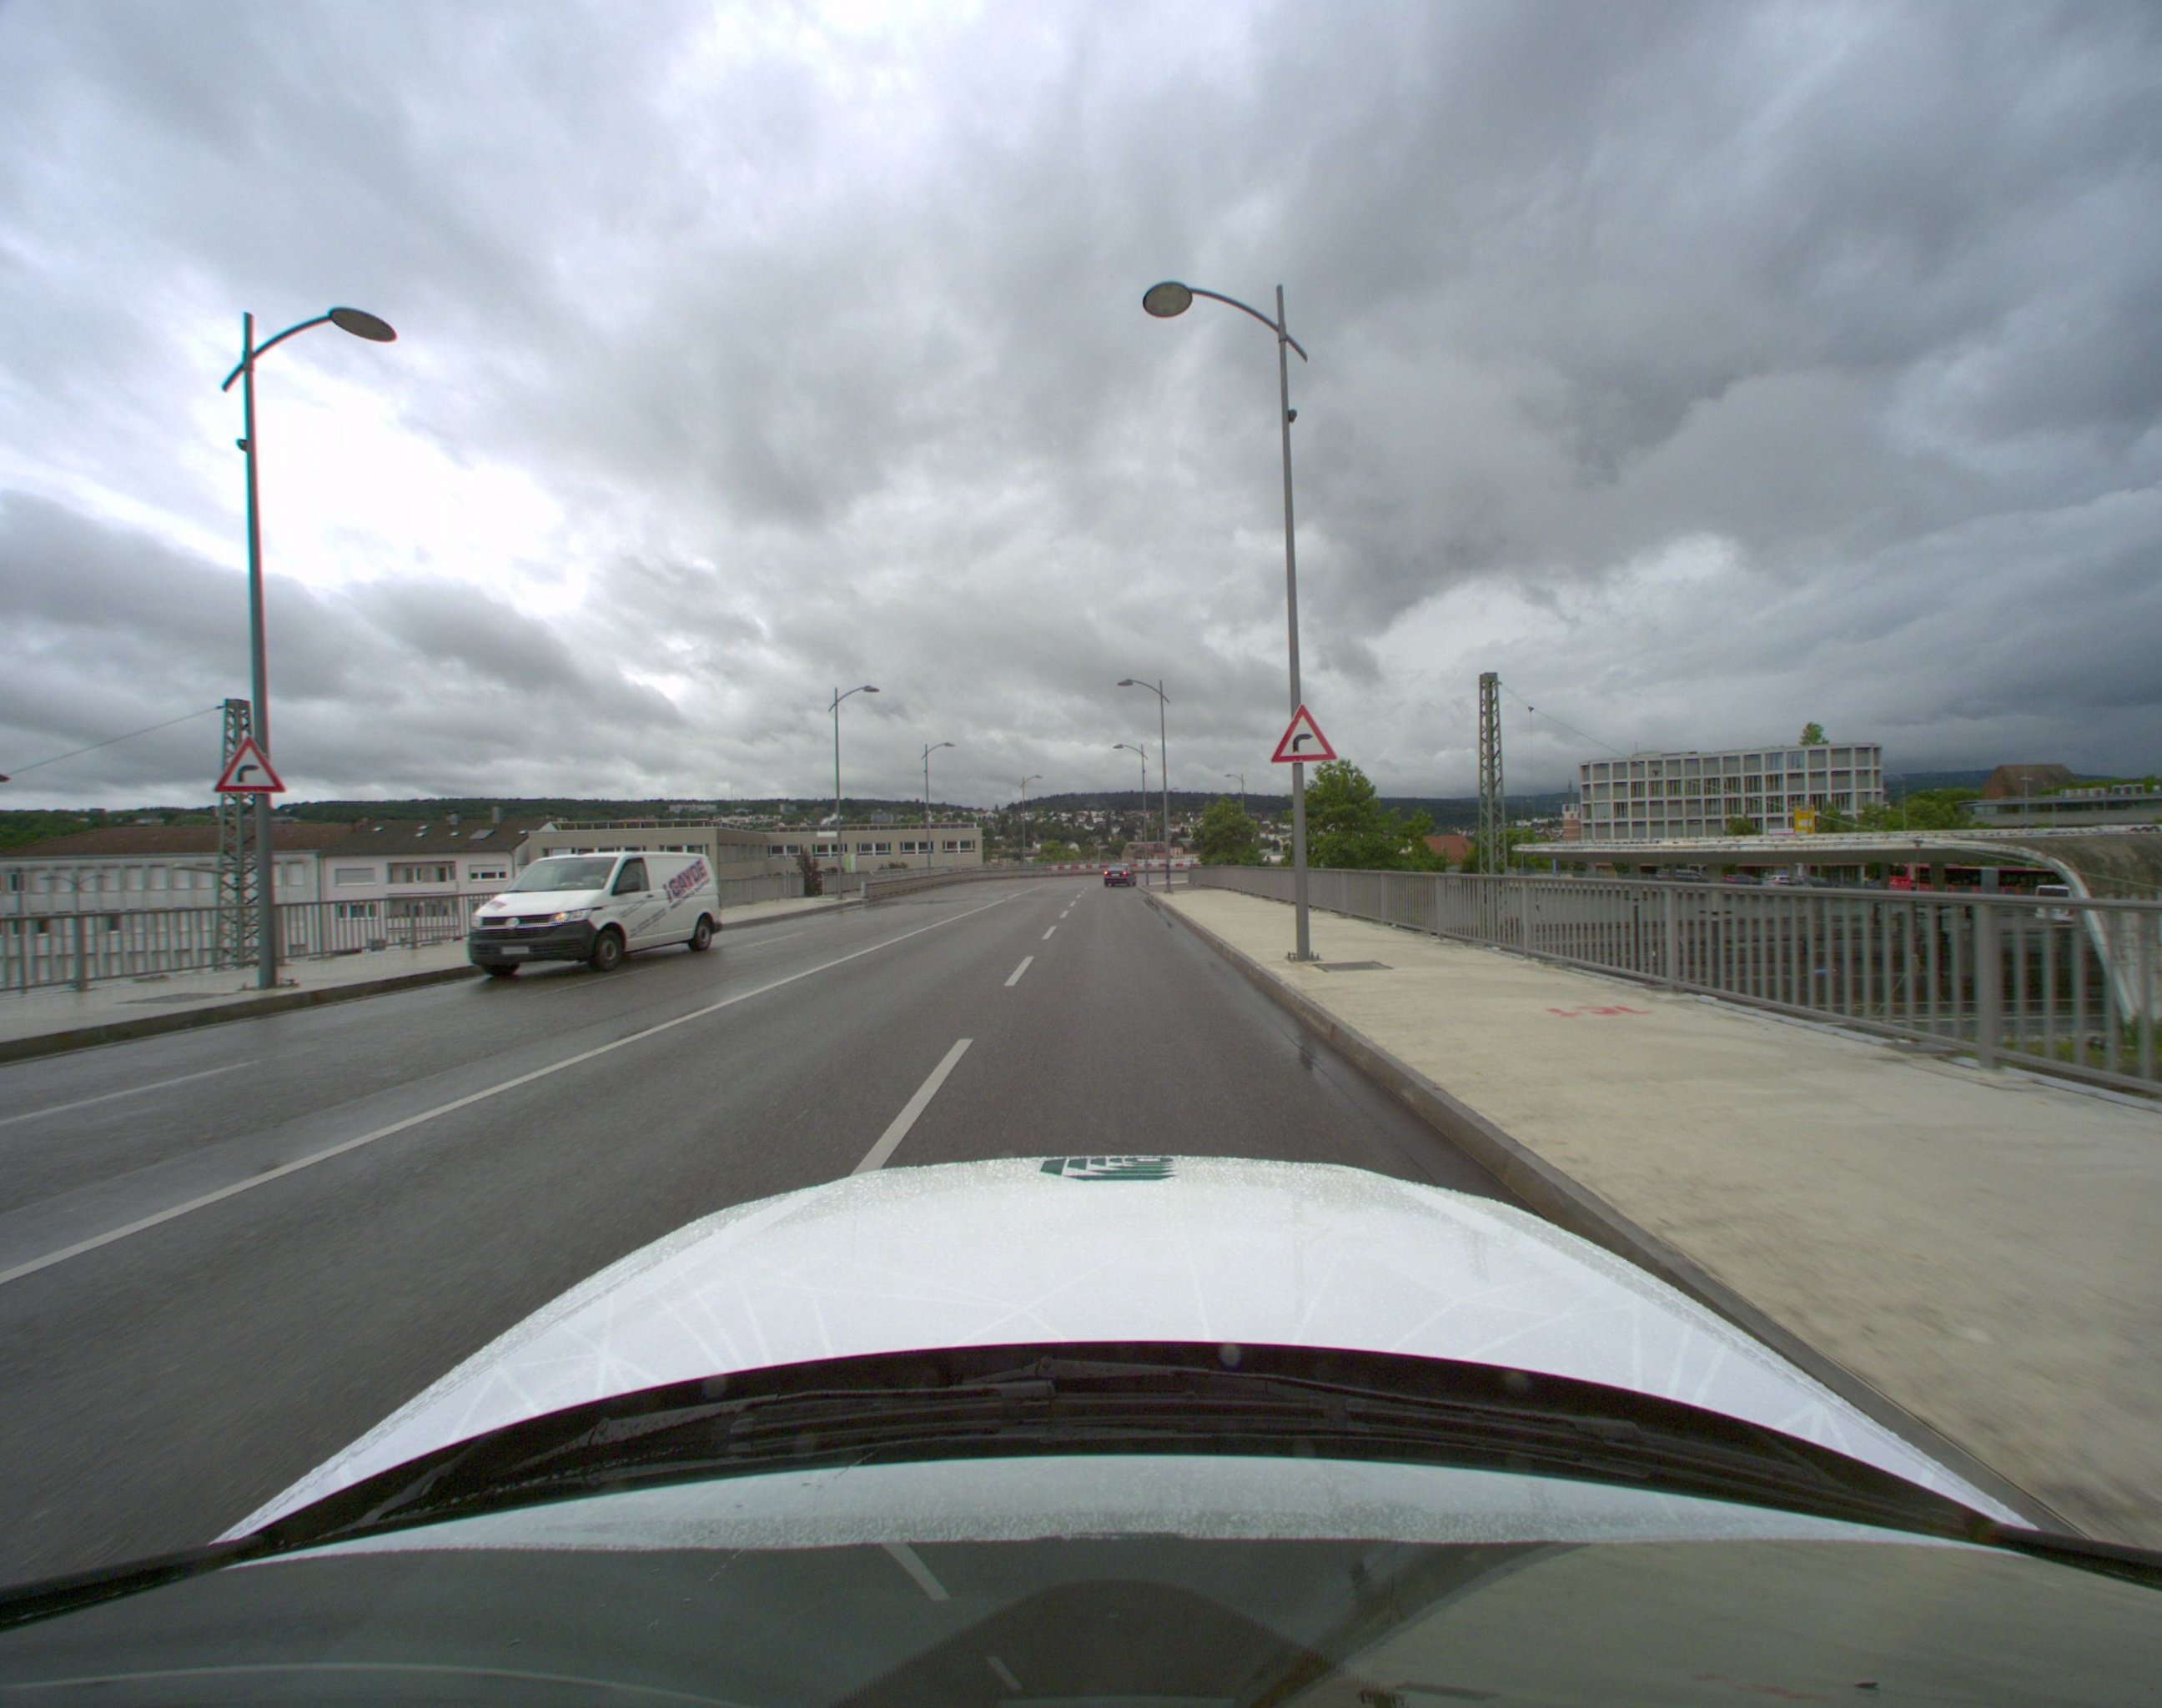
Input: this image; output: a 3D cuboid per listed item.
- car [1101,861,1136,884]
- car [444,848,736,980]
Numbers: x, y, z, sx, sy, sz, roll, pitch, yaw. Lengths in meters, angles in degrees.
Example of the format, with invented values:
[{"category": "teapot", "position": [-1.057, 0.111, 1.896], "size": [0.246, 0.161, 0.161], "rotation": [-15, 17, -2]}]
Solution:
[{"category": "car", "position": [2.511, 1.201, 53.635], "size": [1.694, 1.419, 3.738], "rotation": [0, -1, 12]}, {"category": "car", "position": [-8.197, 0.901, 14.307], "size": [1.879, 1.822, 4.961], "rotation": [-3, -1, 2]}]
